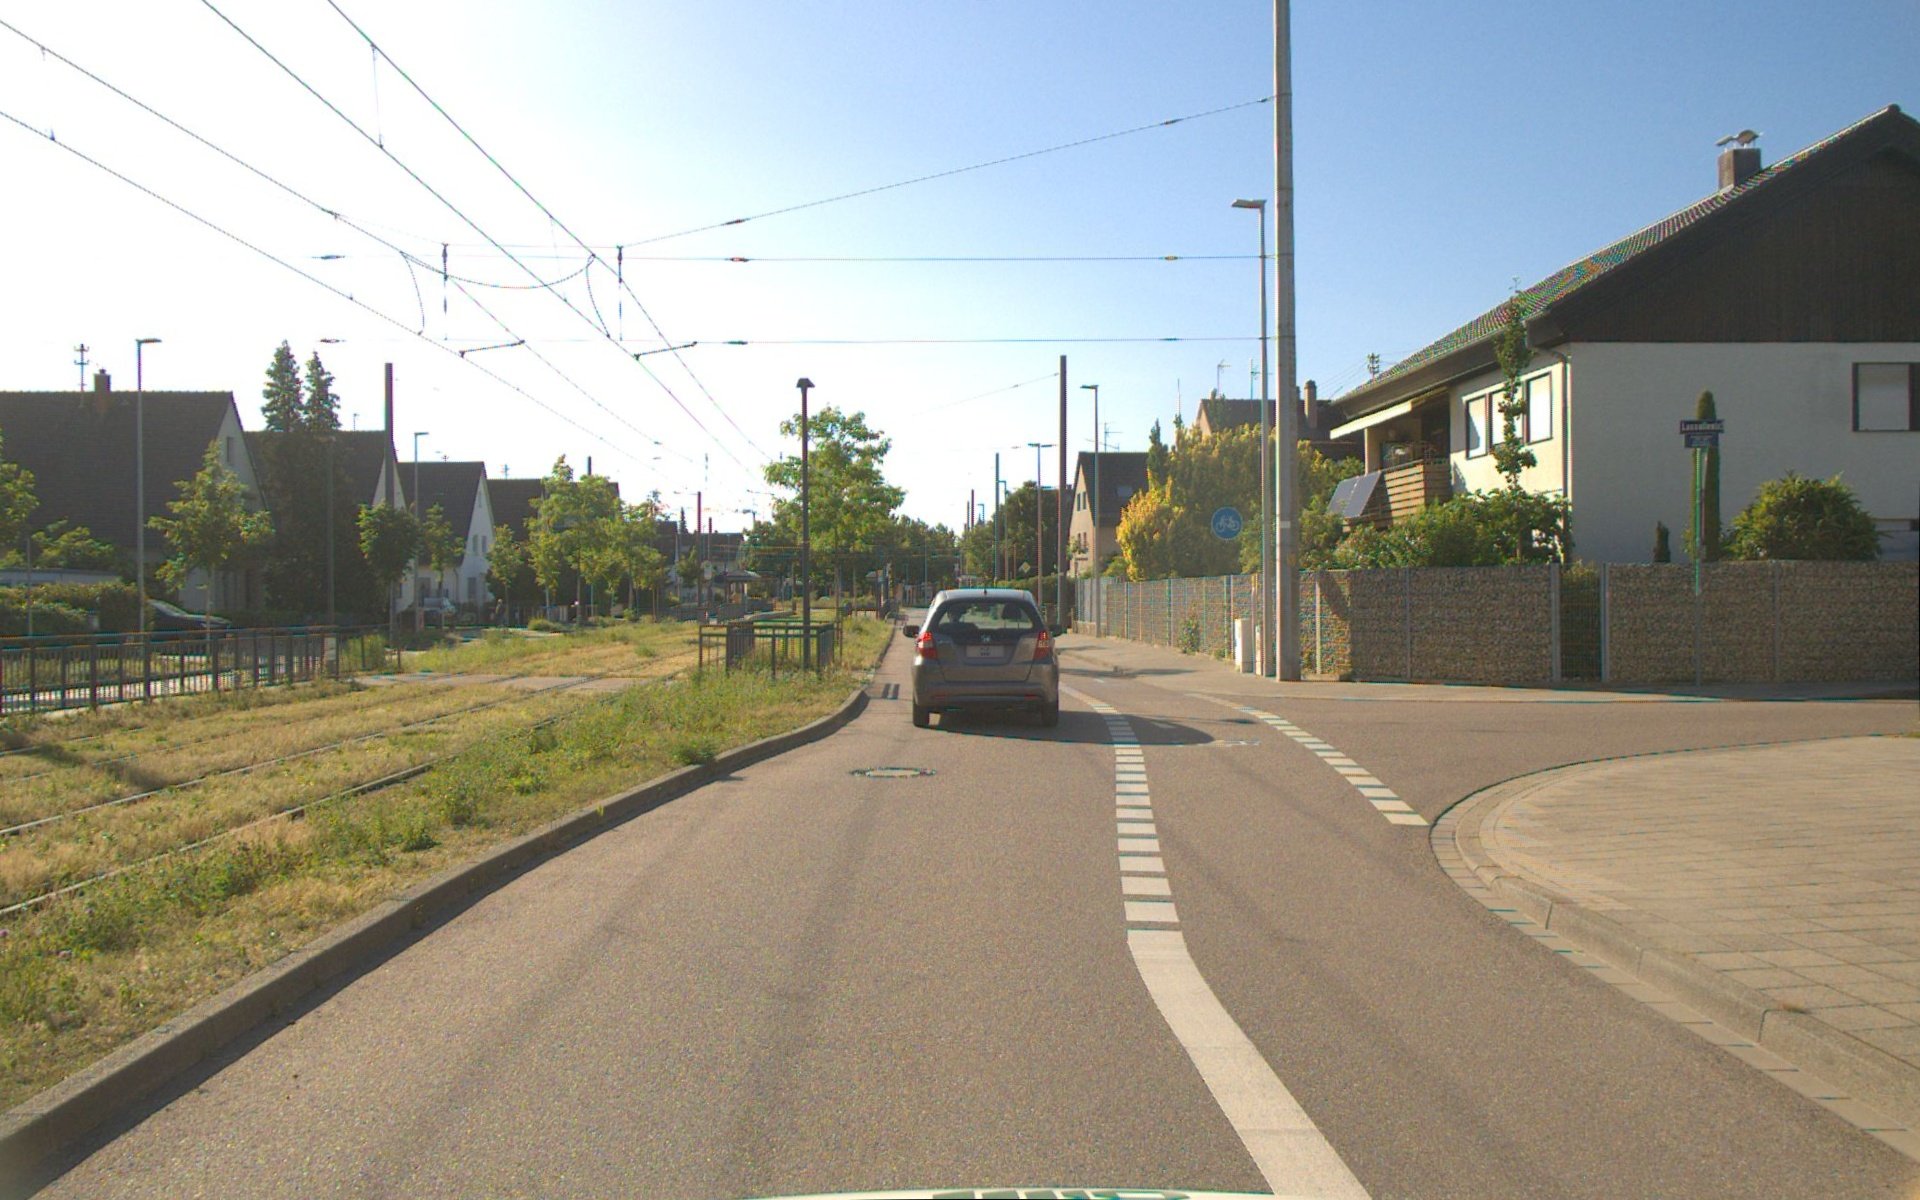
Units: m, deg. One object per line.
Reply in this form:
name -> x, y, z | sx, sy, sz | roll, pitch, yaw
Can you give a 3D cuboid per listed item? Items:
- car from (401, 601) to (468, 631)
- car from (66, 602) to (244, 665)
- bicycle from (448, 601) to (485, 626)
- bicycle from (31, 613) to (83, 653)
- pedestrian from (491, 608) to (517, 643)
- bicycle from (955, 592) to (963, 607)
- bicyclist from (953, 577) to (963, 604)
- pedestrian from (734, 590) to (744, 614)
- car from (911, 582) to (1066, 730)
car -> -26.735, 0.787, 84.276 | 1.895, 1.475, 5.160 | -1, 0, -2
car -> -24.356, 0.991, 50.194 | 4.463, 1.765, 2.046 | -1, 0, -14
bicycle -> -28.595, 0.779, 95.898 | 1.951, 1.389, 0.703 | -1, 0, -9
bicycle -> -22.880, 0.831, 41.941 | 0.414, 0.958, 1.748 | -1, 0, -2
pedestrian -> -21.861, 1.218, 79.274 | 0.945, 1.669, 1.085 | -1, 0, -2
bicycle -> -0.067, -0.025, 105.680 | 0.465, 0.978, 1.656 | 1, -1, -2
bicyclist -> -0.107, -0.605, 105.443 | 0.586, 1.731, 0.683 | 1, -1, -2
pedestrian -> -14.794, 0.126, 110.738 | 0.662, 1.562, 0.748 | -1, 0, -6
car -> 0.331, 0.597, 19.369 | 1.636, 1.562, 3.487 | 0, 0, 1
